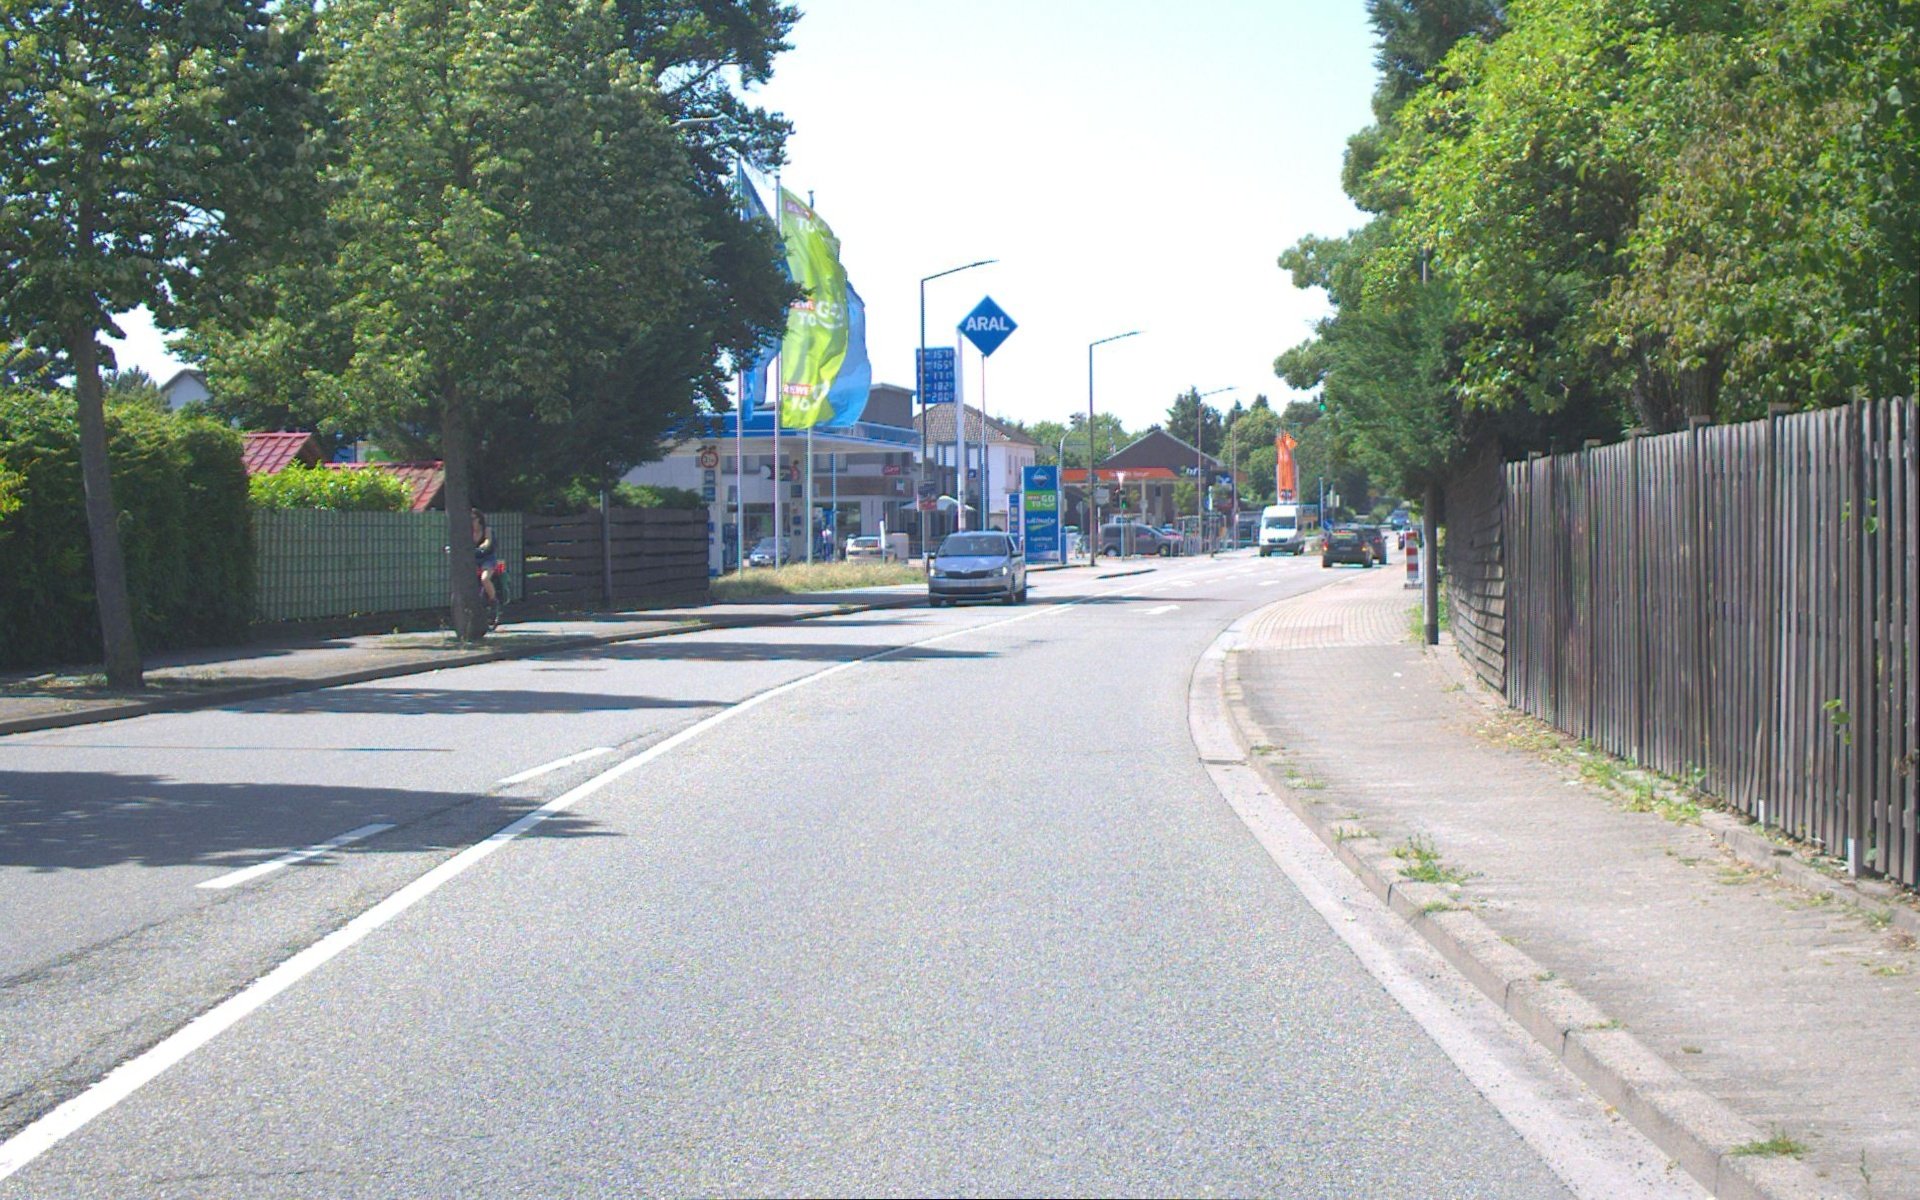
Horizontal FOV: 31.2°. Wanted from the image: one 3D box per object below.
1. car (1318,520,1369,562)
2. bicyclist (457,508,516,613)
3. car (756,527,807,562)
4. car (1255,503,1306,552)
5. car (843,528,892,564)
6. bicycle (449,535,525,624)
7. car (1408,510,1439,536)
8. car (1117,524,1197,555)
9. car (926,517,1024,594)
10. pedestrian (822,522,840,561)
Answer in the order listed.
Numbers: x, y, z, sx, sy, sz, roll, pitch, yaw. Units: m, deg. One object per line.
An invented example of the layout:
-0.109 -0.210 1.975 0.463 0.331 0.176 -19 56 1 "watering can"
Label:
13.858 -2.145 124.083 1.666 1.450 3.471 0 1 9 "car"
-6.465 -0.542 46.958 0.628 1.404 0.676 -1 1 5 "bicyclist"
-7.617 -2.381 146.897 1.617 1.415 3.711 -2 1 5 "car"
16.748 -3.765 179.302 1.994 2.414 5.944 1 0 11 "car"
-3.944 -2.313 146.731 1.617 1.415 3.711 -2 1 5 "car"
-6.456 -0.292 47.010 0.632 1.176 1.816 -1 1 5 "bicycle"
26.881 -4.458 199.245 1.666 1.450 3.471 0 1 9 "car"
10.035 -3.096 175.390 3.988 1.503 1.554 -1 1 6 "car"
0.327 -0.904 68.615 1.612 1.477 3.707 0 1 5 "car"
-5.555 -2.531 148.159 0.610 1.685 0.709 -1 1 -17 "pedestrian"
